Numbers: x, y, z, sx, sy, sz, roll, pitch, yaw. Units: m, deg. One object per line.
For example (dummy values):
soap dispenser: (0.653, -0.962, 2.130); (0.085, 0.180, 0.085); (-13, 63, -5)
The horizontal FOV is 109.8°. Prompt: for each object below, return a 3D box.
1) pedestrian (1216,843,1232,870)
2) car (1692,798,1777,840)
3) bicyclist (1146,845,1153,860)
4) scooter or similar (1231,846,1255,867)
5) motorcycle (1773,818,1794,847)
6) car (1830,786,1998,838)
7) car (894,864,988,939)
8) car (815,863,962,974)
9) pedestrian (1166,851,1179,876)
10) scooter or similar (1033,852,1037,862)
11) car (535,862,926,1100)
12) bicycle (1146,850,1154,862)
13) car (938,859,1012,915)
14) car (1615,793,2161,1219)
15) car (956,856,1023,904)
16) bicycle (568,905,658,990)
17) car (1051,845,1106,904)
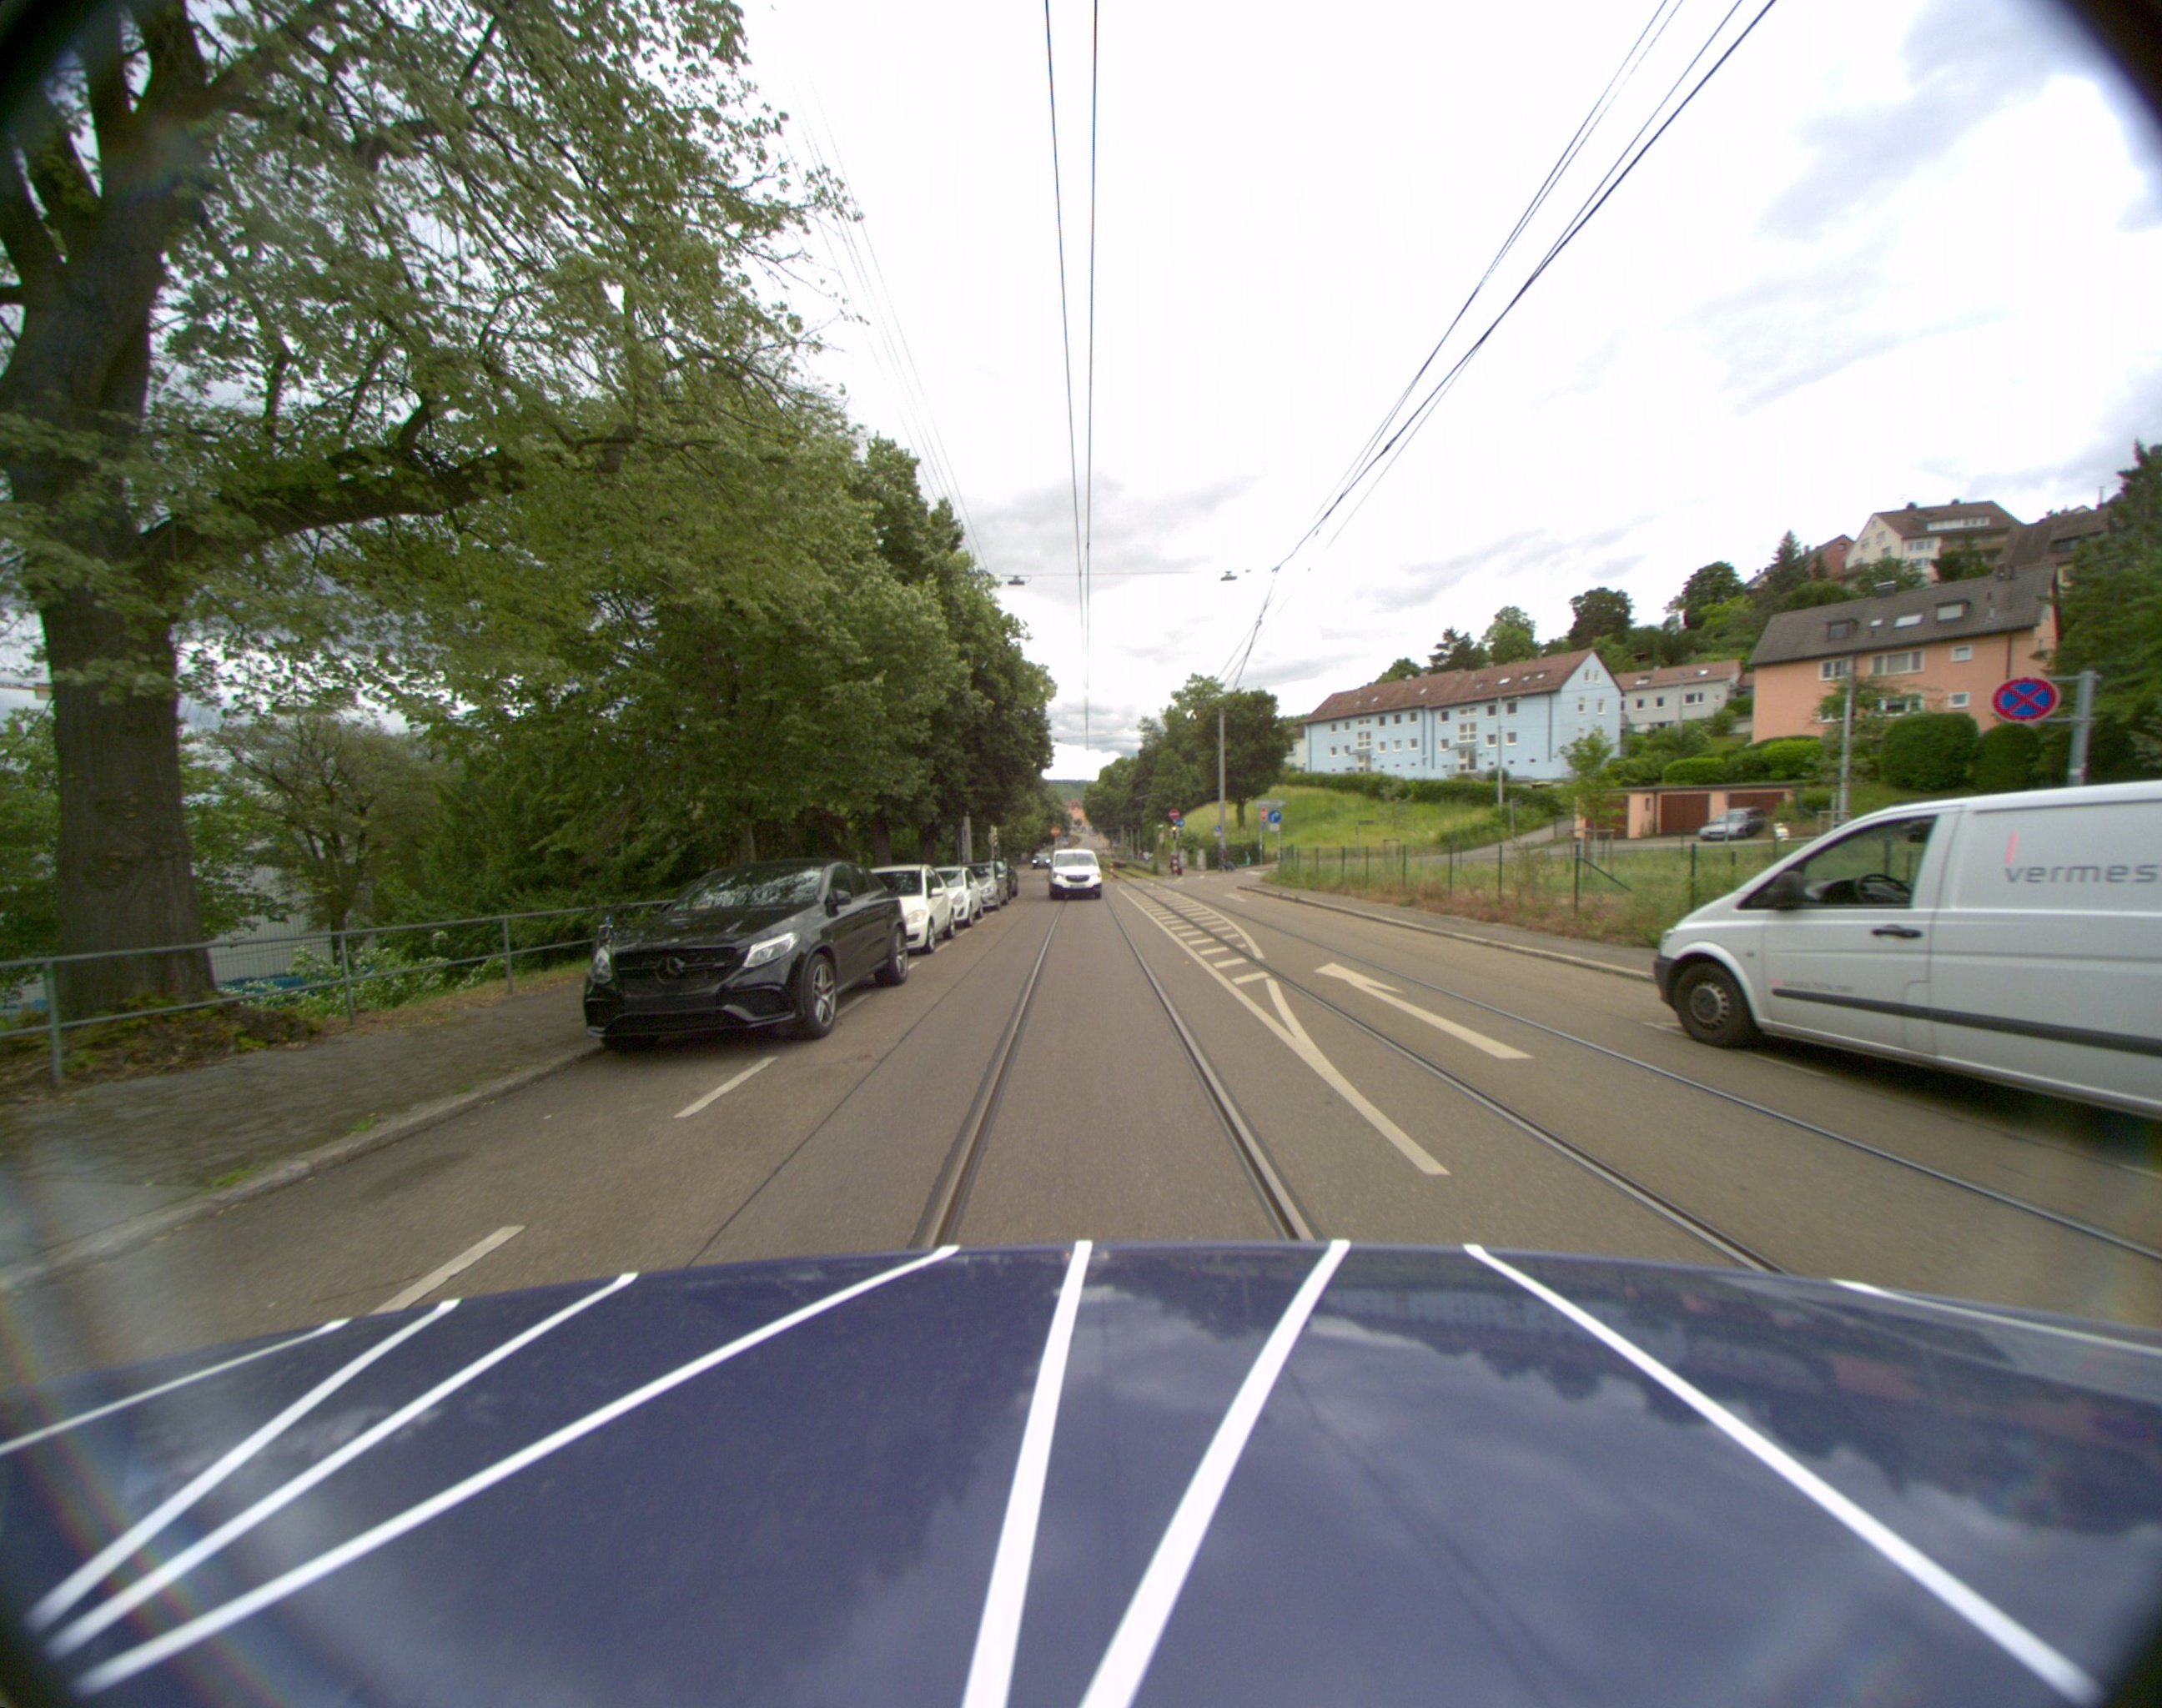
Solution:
pedestrian: (9.244, 0.164, 49.100); (0.901, 1.740, 0.743); (-2, 2, 13)
car: (34.055, -1.837, 39.551); (4.885, 1.604, 1.995); (-9, 5, -32)
bicyclist: (7.530, -0.126, 83.851); (0.706, 1.619, 1.032); (-3, 0, 3)
scooter or similar: (10.727, 0.151, 50.417); (1.412, 1.282, 0.418); (-6, 2, 1)
motorcycle: (31.976, -0.976, 34.607); (0.520, 1.151, 1.707); (-1, 6, 36)
car: (35.087, -1.717, 32.206); (4.440, 1.680, 1.980); (-5, 0, 38)
car: (-3.448, 1.110, 19.392); (1.634, 1.508, 4.063); (-4, 1, -2)
car: (-3.516, 1.095, 14.664); (1.731, 1.622, 4.087); (-5, 0, -1)
pedestrian: (5.894, 0.611, 49.039); (0.752, 1.565, 0.757); (-2, 2, 7)
scooter or similar: (-6.496, 0.397, 106.951); (0.431, 1.377, 1.455); (-2, 2, 0)
car: (-3.288, 1.035, 8.536); (1.882, 1.668, 5.062); (-4, 0, 1)
bicycle: (7.510, 0.246, 83.290); (0.752, 1.232, 2.867); (-3, 0, 4)
car: (-3.386, 1.007, 25.010); (1.738, 1.566, 4.364); (-2, 1, 0)
car: (5.752, 0.662, 4.204); (2.041, 1.871, 4.883); (1, 1, -1)
car: (-3.519, 0.942, 30.093); (1.909, 1.605, 4.600); (-3, 1, 1)
bicycle: (-6.708, 1.298, 10.981); (0.428, 0.970, 1.793); (-3, 1, -10)
car: (-0.163, 0.687, 28.394); (1.810, 1.910, 4.476); (-2, 1, -2)
